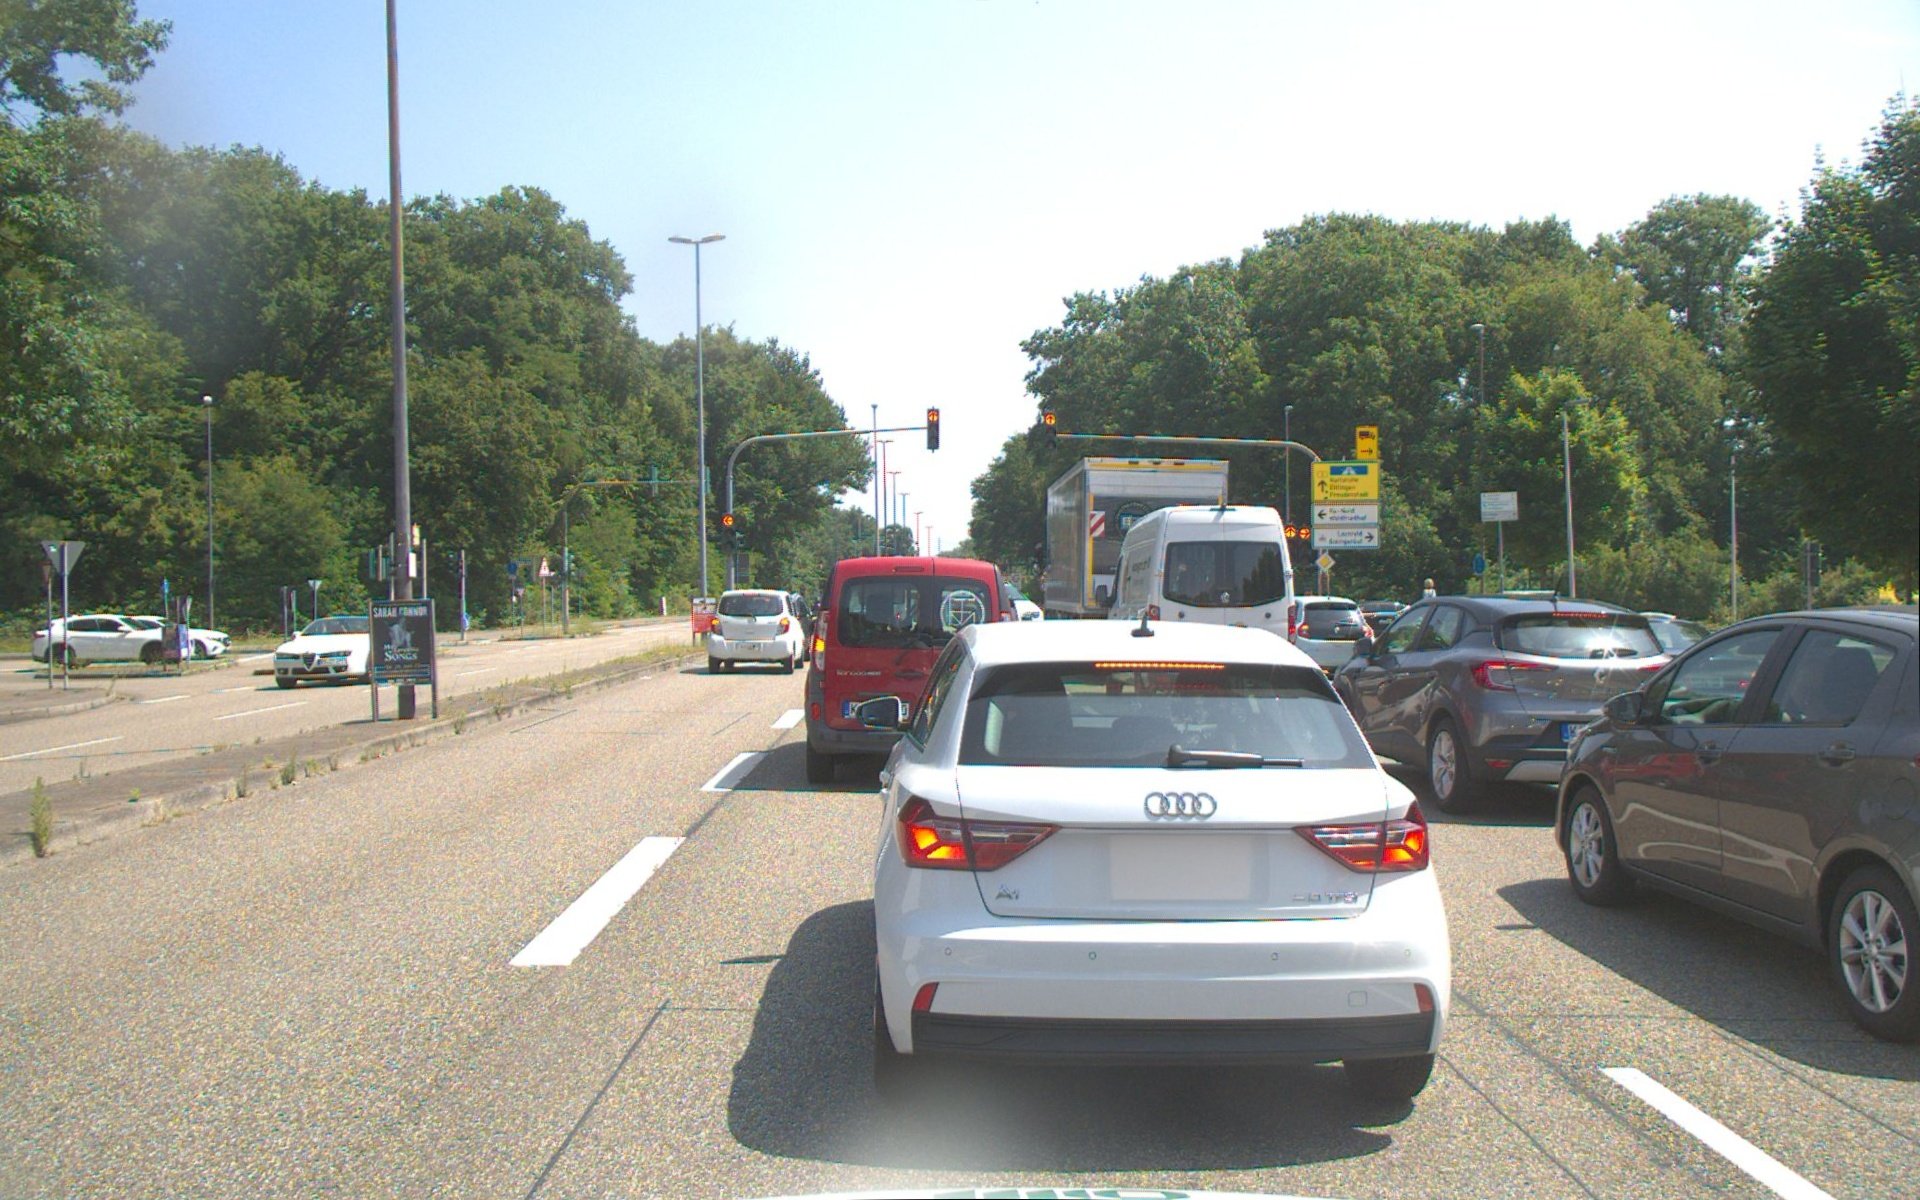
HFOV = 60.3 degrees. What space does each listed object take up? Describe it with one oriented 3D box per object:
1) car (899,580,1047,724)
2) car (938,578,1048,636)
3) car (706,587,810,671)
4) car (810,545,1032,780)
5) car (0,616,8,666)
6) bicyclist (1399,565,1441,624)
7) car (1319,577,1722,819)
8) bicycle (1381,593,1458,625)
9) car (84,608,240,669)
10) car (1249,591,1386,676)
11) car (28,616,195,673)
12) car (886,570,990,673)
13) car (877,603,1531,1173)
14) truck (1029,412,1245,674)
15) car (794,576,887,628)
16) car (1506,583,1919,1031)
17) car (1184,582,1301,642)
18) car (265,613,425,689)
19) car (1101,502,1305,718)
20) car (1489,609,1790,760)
[{"bbox_3d":[0.081,0.596,21.142,1.677,1.660,4.090,0,0,-3],"label":"car"},{"bbox_3d":[1.197,0.268,61.141,1.981,2.049,3.944,-1,0,-39],"label":"car"},{"bbox_3d":[-3.838,0.524,32.009,1.677,1.519,4.090,0,0,-3],"label":"car"},{"bbox_3d":[-0.382,0.466,14.594,1.677,1.779,4.090,0,0,-3],"label":"car"},{"bbox_3d":[-34.471,1.349,55.163,4.294,1.711,1.805,1,-1,-13],"label":"car"},{"bbox_3d":[11.580,-0.146,41.639,0.815,1.464,0.595,-1,0,43],"label":"bicyclist"},{"bbox_3d":[4.225,0.650,13.189,1.677,1.621,4.090,0,0,-3],"label":"car"},{"bbox_3d":[11.575,0.222,41.663,1.796,0.779,0.597,-1,0,44],"label":"bicycle"},{"bbox_3d":[-27.007,1.281,56.095,4.291,1.710,1.807,-4,0,-9],"label":"car"},{"bbox_3d":[7.016,0.613,32.832,1.677,1.573,4.090,0,0,-3],"label":"car"},{"bbox_3d":[-26.746,1.397,52.280,4.290,1.711,1.807,1,-1,-9],"label":"car"},{"bbox_3d":[-0.438,0.345,28.804,1.677,1.660,4.090,0,0,-3],"label":"car"},{"bbox_3d":[0.541,0.732,6.259,1.677,1.410,4.090,0,0,-3],"label":"car"},{"bbox_3d":[3.316,-1.016,34.452,3.026,4.511,11.577,1,0,-1],"label":"truck"},{"bbox_3d":[-4.985,0.091,68.657,1.981,2.049,3.944,-1,0,-39],"label":"car"},{"bbox_3d":[4.015,0.728,7.260,1.678,1.504,4.090,3,0,-3],"label":"car"},{"bbox_3d":[9.959,0.414,58.264,3.902,2.049,2.002,-1,0,14],"label":"car"},{"bbox_3d":[-12.291,0.981,33.347,1.683,1.284,4.300,-3,0,-2],"label":"car"},{"bbox_3d":[3.248,0.117,23.061,1.990,2.690,4.843,0,0,-2],"label":"car"},{"bbox_3d":[7.418,0.853,18.515,1.604,1.395,4.145,1,1,-1],"label":"car"}]
